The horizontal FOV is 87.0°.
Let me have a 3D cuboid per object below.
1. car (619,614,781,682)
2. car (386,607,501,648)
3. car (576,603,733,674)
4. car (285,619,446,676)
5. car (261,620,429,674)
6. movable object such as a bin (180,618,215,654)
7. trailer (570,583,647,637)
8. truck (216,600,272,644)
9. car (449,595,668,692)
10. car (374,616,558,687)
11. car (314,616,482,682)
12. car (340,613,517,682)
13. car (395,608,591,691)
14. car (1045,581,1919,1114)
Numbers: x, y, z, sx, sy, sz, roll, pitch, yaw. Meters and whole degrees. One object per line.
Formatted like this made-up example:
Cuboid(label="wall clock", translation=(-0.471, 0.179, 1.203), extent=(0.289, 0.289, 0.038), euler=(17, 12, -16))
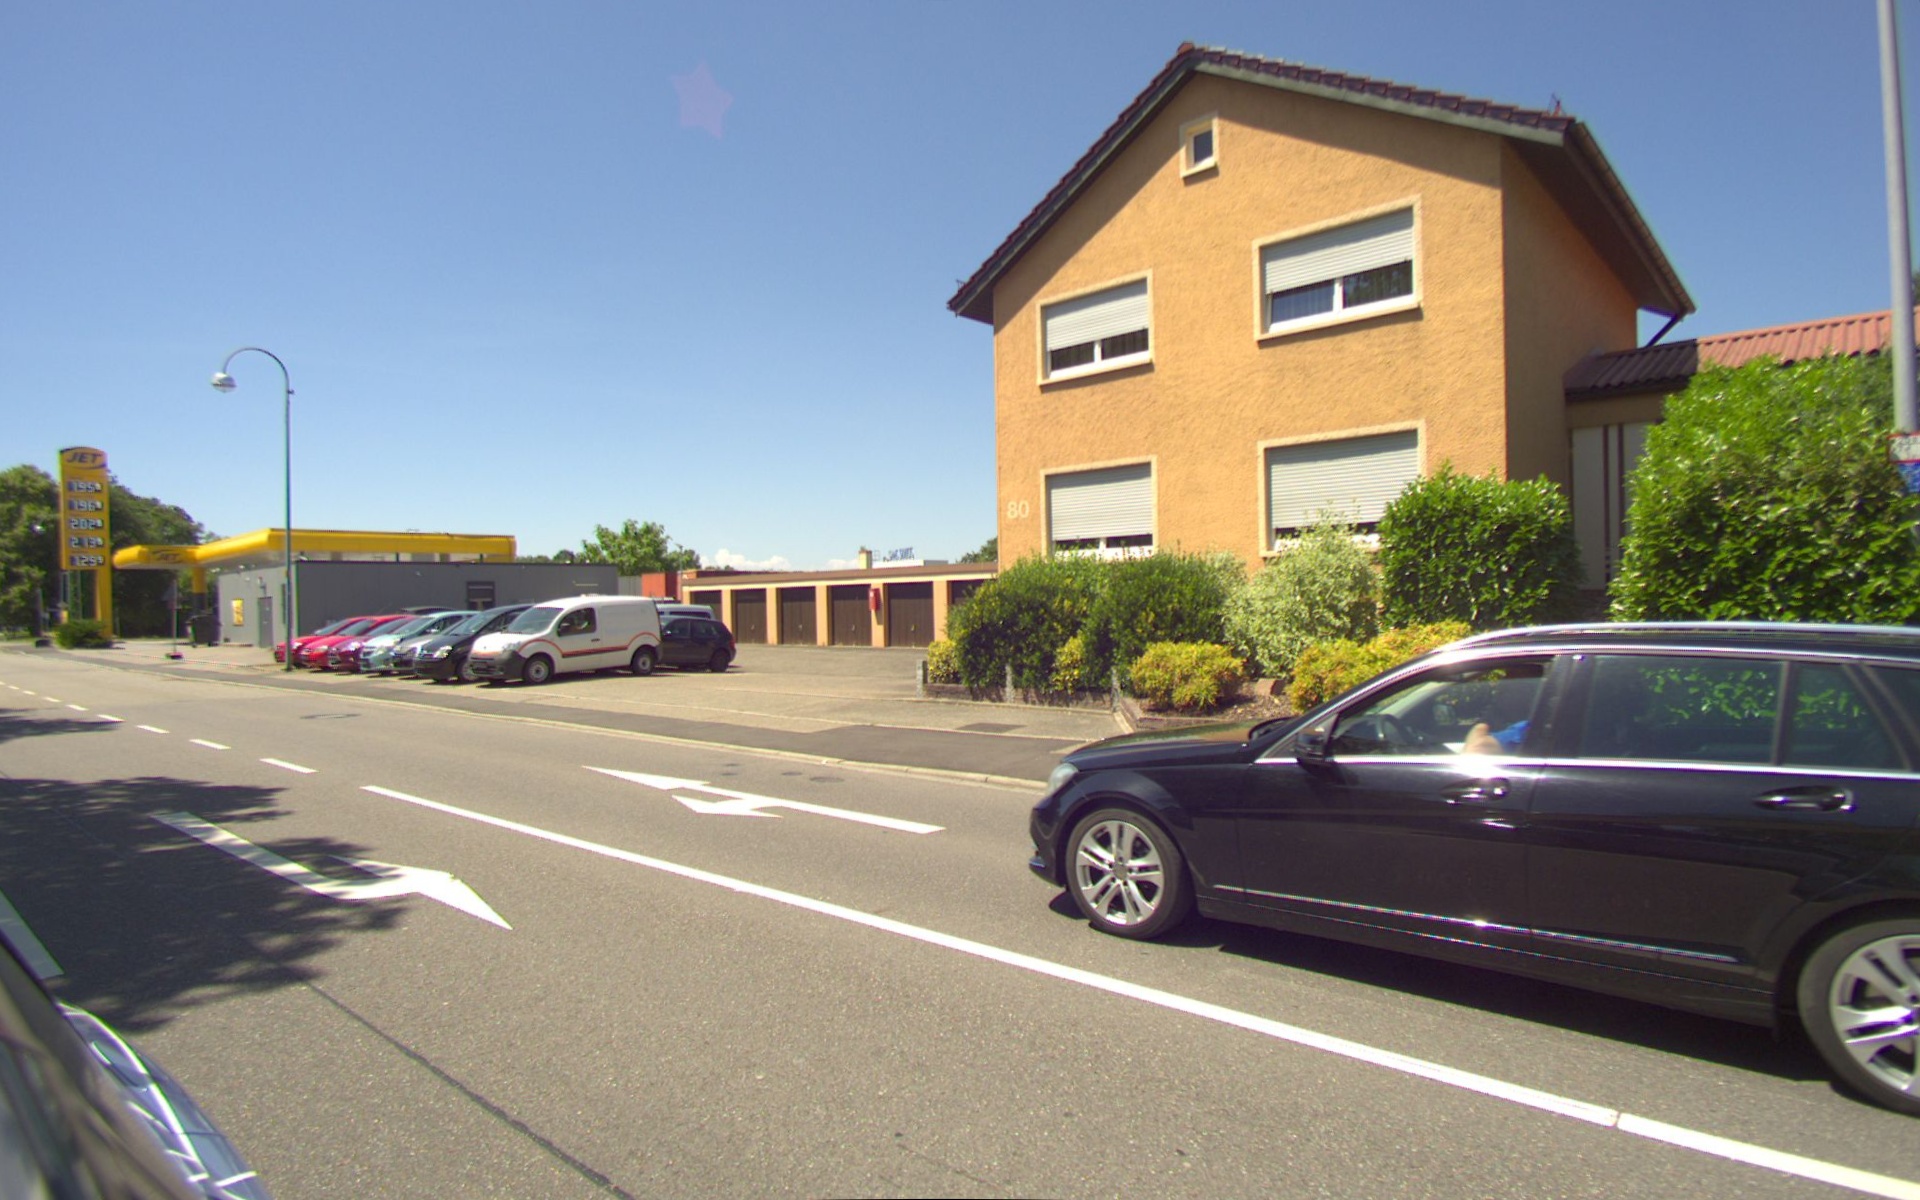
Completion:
Cuboid(label="car", translation=(-7.014, 1.256, 27.580), extent=(1.828, 1.580, 3.948), euler=(-2, 0, 39))
Cuboid(label="car", translation=(-21.600, 1.106, 42.380), extent=(1.755, 1.596, 3.943), euler=(-1, 0, 44))
Cuboid(label="car", translation=(-8.657, 1.047, 28.922), extent=(1.998, 1.875, 3.864), euler=(-2, -1, 39))
Cuboid(label="car", translation=(-17.260, 1.321, 29.512), extent=(1.890, 1.468, 3.628), euler=(-1, 0, 38))
Cuboid(label="car", translation=(-18.884, 1.379, 31.205), extent=(1.825, 1.455, 4.084), euler=(-1, 0, 40))
Cuboid(label="movable object such as a bin", translation=(-35.731, 1.685, 47.400), extent=(1.427, 1.528, 0.942), euler=(-3, 2, 42))
Cuboid(label="trailer", translation=(-22.157, 0.640, 63.659), extent=(5.911, 3.244, 1.845), euler=(-2, -1, 42))
Cuboid(label="truck", translation=(-45.541, 1.378, 64.314), extent=(2.206, 2.618, 6.742), euler=(-1, 0, -41))
Cuboid(label="car", translation=(-8.737, 0.876, 22.319), extent=(1.996, 1.912, 4.057), euler=(-1, 0, 36))
Cuboid(label="car", translation=(-12.152, 1.211, 25.027), extent=(1.920, 1.543, 3.628), euler=(-1, 0, 38))
Cuboid(label="car", translation=(-15.393, 1.274, 27.851), extent=(1.879, 1.617, 3.628), euler=(-1, 0, 38))
Cuboid(label="car", translation=(-13.782, 1.180, 26.360), extent=(1.920, 1.593, 3.628), euler=(-1, 0, 38))
Cuboid(label="car", translation=(-10.658, 1.060, 23.285), extent=(1.920, 1.685, 3.628), euler=(-1, 0, 38))
Cuboid(label="car", translation=(2.587, 0.718, 4.074), extent=(4.274, 1.506, 1.692), euler=(-2, -1, 40))
